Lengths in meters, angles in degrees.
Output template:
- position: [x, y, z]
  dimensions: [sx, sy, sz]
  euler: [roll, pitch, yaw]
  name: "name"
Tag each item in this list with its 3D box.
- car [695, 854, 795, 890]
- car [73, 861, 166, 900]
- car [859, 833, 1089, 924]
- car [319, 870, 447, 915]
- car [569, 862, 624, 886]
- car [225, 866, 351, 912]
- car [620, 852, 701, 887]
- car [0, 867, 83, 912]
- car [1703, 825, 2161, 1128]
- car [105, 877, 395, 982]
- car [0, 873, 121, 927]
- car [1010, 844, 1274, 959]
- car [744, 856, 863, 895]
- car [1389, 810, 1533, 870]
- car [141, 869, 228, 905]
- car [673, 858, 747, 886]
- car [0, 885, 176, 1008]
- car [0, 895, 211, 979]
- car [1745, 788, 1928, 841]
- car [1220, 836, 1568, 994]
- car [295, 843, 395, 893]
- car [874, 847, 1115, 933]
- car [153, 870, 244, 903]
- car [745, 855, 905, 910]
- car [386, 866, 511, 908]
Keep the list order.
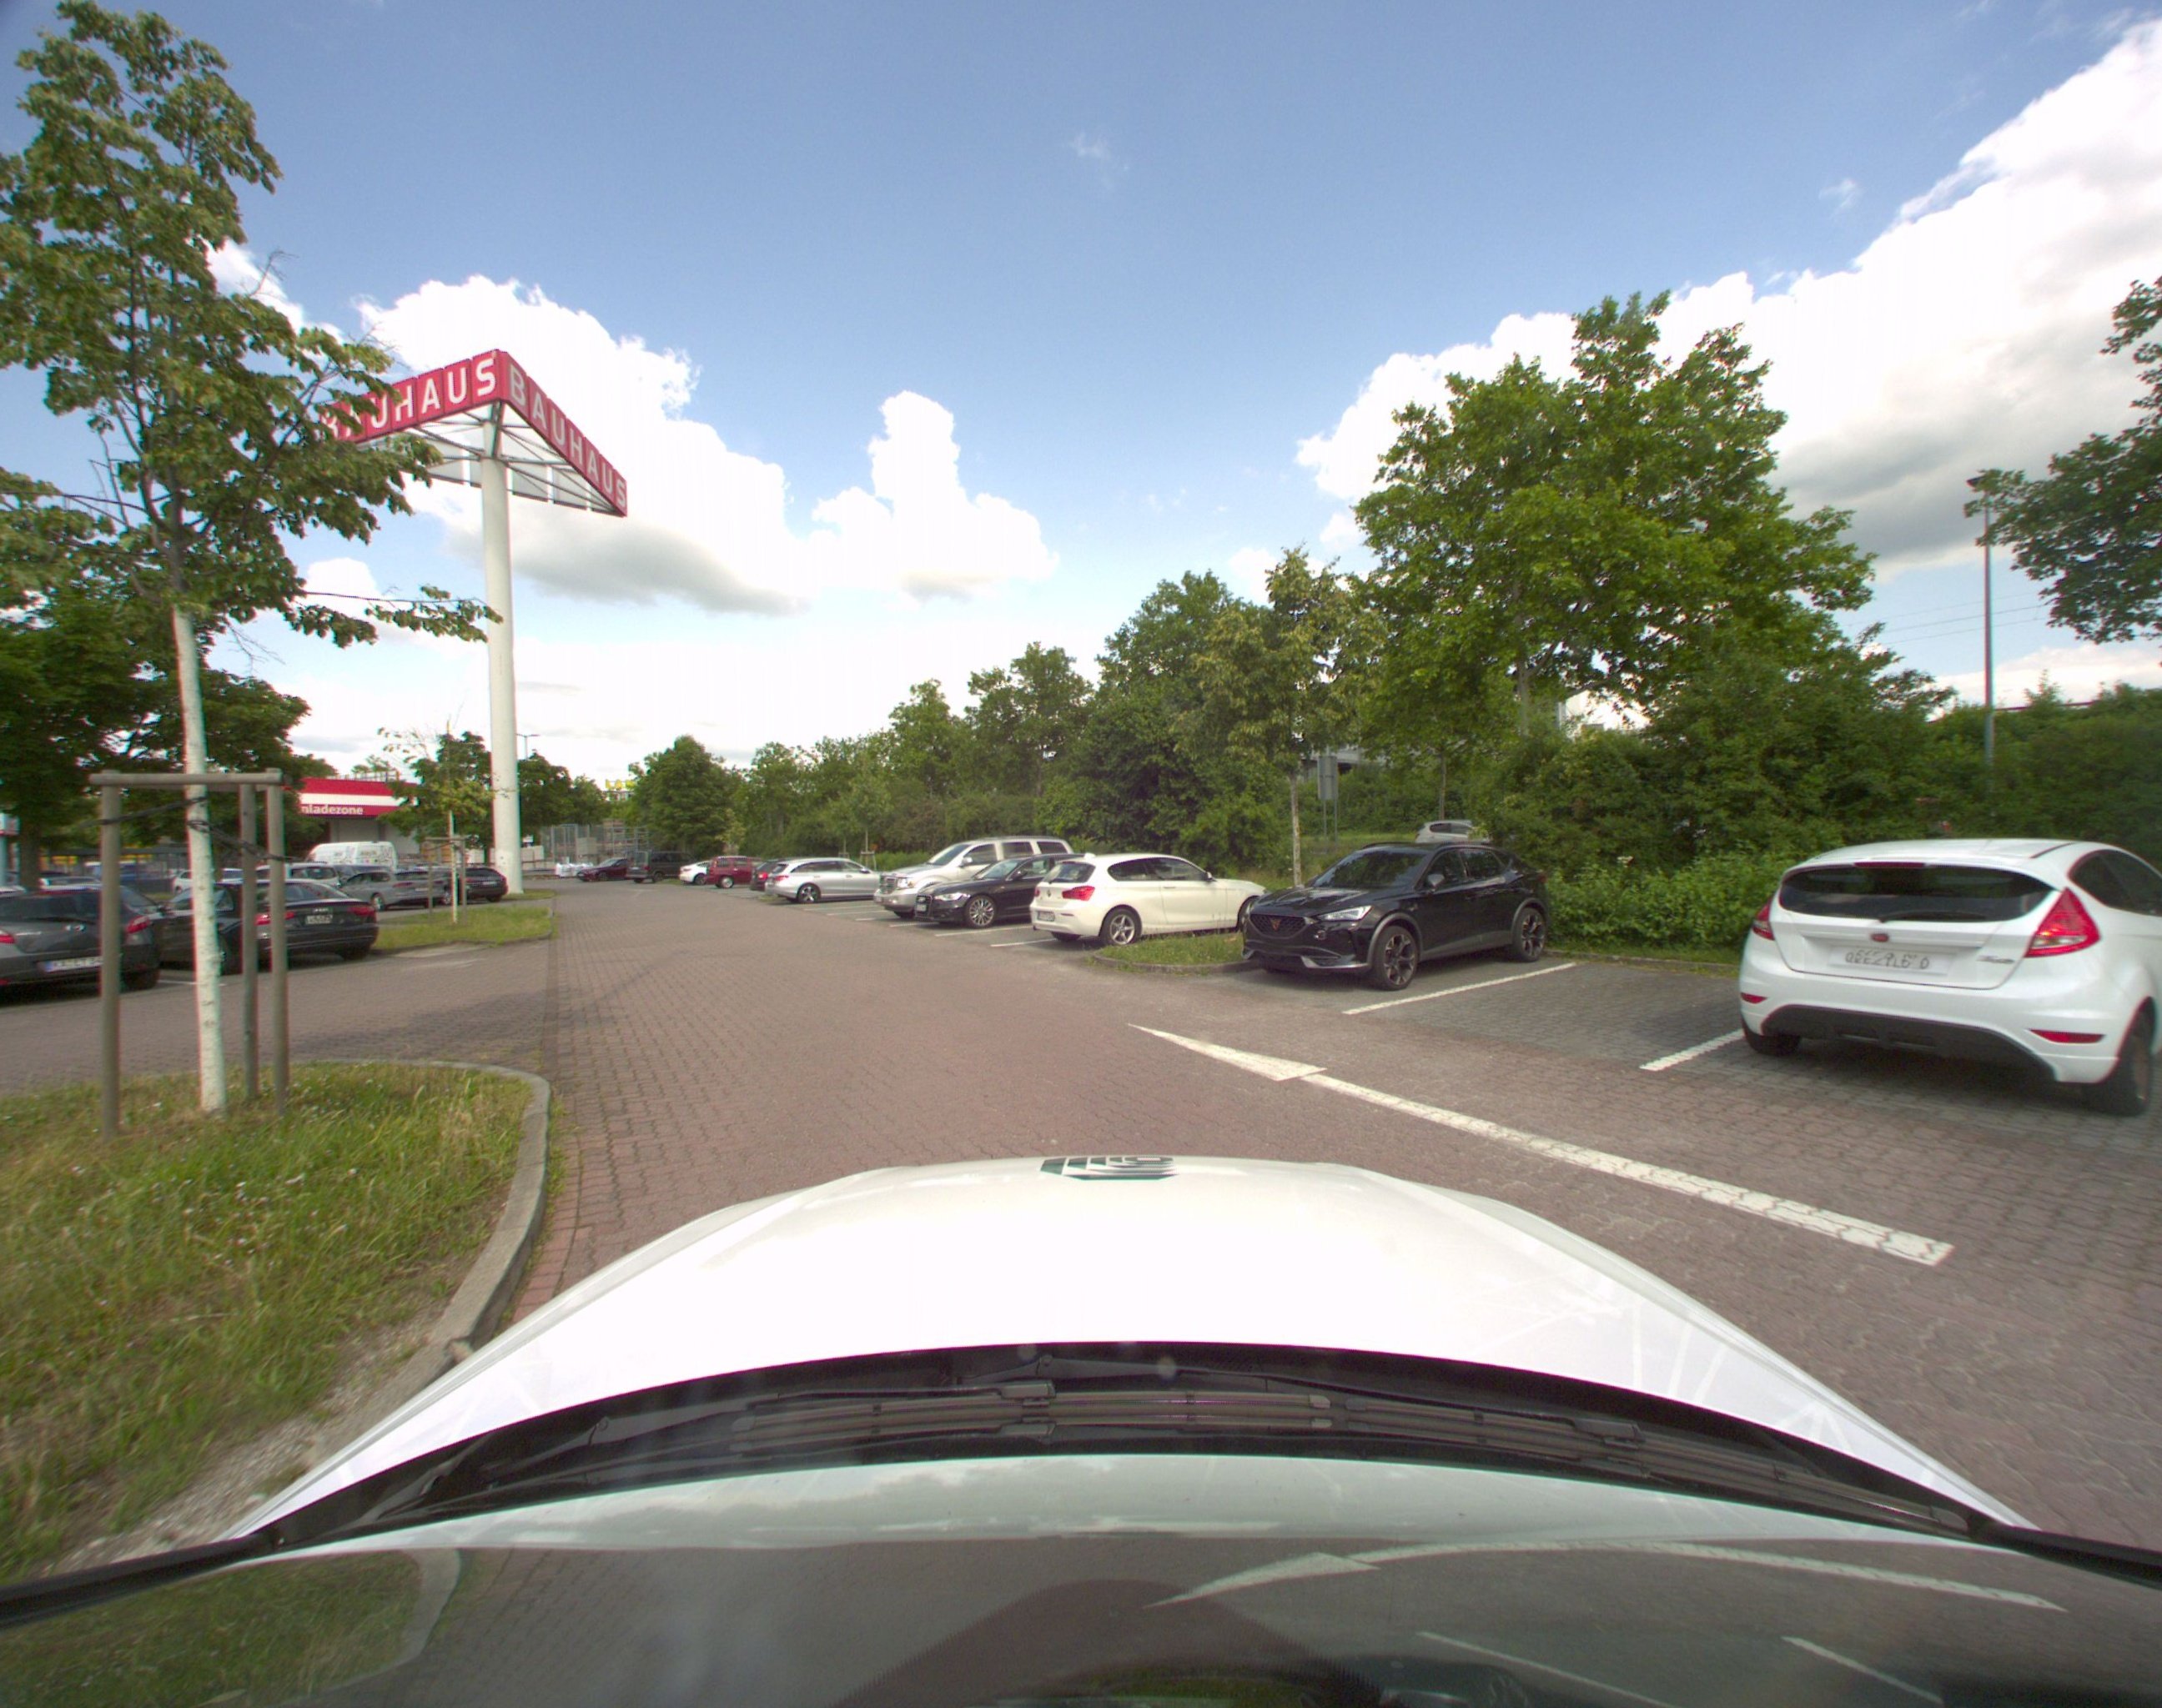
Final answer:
- position: [-17.008, 0.880, 41.296]
  dimensions: [4.339, 1.596, 1.978]
  euler: [-3, 1, -36]
  name: "car"
- position: [-53.801, 1.498, 45.595]
  dimensions: [3.954, 2.014, 2.009]
  euler: [-2, -2, 19]
  name: "car"
- position: [-2.513, 0.498, 19.825]
  dimensions: [5.169, 1.842, 1.969]
  euler: [-3, 1, -35]
  name: "car"
- position: [-24.914, 1.366, 29.101]
  dimensions: [3.731, 1.446, 1.733]
  euler: [-2, 1, 18]
  name: "car"
- position: [-30.786, 1.268, 51.796]
  dimensions: [1.337, 1.432, 2.706]
  euler: [-3, -3, 30]
  name: "car"
- position: [-30.689, 1.349, 31.539]
  dimensions: [3.953, 1.596, 1.920]
  euler: [-2, 1, 20]
  name: "car"
- position: [-25.984, 0.954, 50.439]
  dimensions: [1.922, 2.019, 4.081]
  euler: [-2, -1, 27]
  name: "car"
- position: [-42.410, 1.401, 32.779]
  dimensions: [3.430, 1.524, 1.774]
  euler: [2, 3, 21]
  name: "car"
- position: [6.110, 0.565, 5.559]
  dimensions: [3.567, 1.411, 1.655]
  euler: [-3, 1, -29]
  name: "car"
- position: [-13.762, 1.174, 13.475]
  dimensions: [4.487, 1.432, 1.782]
  euler: [-2, 1, 23]
  name: "car"
- position: [-34.422, 1.528, 27.277]
  dimensions: [3.952, 1.596, 1.729]
  euler: [-2, 1, 22]
  name: "car"
- position: [1.063, 0.673, 13.426]
  dimensions: [4.095, 1.509, 1.674]
  euler: [-3, 1, -31]
  name: "car"
- position: [-10.654, 0.820, 31.305]
  dimensions: [4.016, 1.381, 1.681]
  euler: [-1, -2, -35]
  name: "car"
- position: [14.044, -0.438, 30.343]
  dimensions: [1.926, 2.014, 4.446]
  euler: [0, -2, -36]
  name: "car"
- position: [-52.389, 1.925, 47.606]
  dimensions: [3.954, 2.014, 2.009]
  euler: [-2, -2, 19]
  name: "car"
- position: [-21.493, 1.025, 47.179]
  dimensions: [3.659, 1.468, 1.616]
  euler: [-2, -1, -34]
  name: "car"
- position: [-14.386, 1.175, 10.924]
  dimensions: [3.953, 1.369, 1.587]
  euler: [-2, 1, 20]
  name: "car"
- position: [-18.257, 1.467, 14.835]
  dimensions: [4.019, 1.352, 1.802]
  euler: [-2, -3, 20]
  name: "car"
- position: [27.367, -1.392, 29.655]
  dimensions: [2.008, 1.669, 4.546]
  euler: [-3, 1, -34]
  name: "car"
- position: [3.842, 0.568, 9.736]
  dimensions: [4.259, 1.410, 1.715]
  euler: [-3, 1, -34]
  name: "car"
- position: [-38.703, 0.728, 42.844]
  dimensions: [4.672, 2.510, 2.064]
  euler: [-1, 0, 22]
  name: "car"
- position: [-1.767, 0.674, 17.278]
  dimensions: [4.742, 1.450, 1.821]
  euler: [-3, 1, -33]
  name: "car"
- position: [-40.232, 1.500, 37.117]
  dimensions: [3.583, 1.405, 1.550]
  euler: [-2, -2, 21]
  name: "car"
- position: [-8.391, 0.885, 26.877]
  dimensions: [4.673, 1.504, 1.766]
  euler: [-3, 1, -34]
  name: "car"
- position: [-24.650, 1.281, 31.786]
  dimensions: [4.044, 1.439, 1.837]
  euler: [-2, 1, 18]
  name: "car"
